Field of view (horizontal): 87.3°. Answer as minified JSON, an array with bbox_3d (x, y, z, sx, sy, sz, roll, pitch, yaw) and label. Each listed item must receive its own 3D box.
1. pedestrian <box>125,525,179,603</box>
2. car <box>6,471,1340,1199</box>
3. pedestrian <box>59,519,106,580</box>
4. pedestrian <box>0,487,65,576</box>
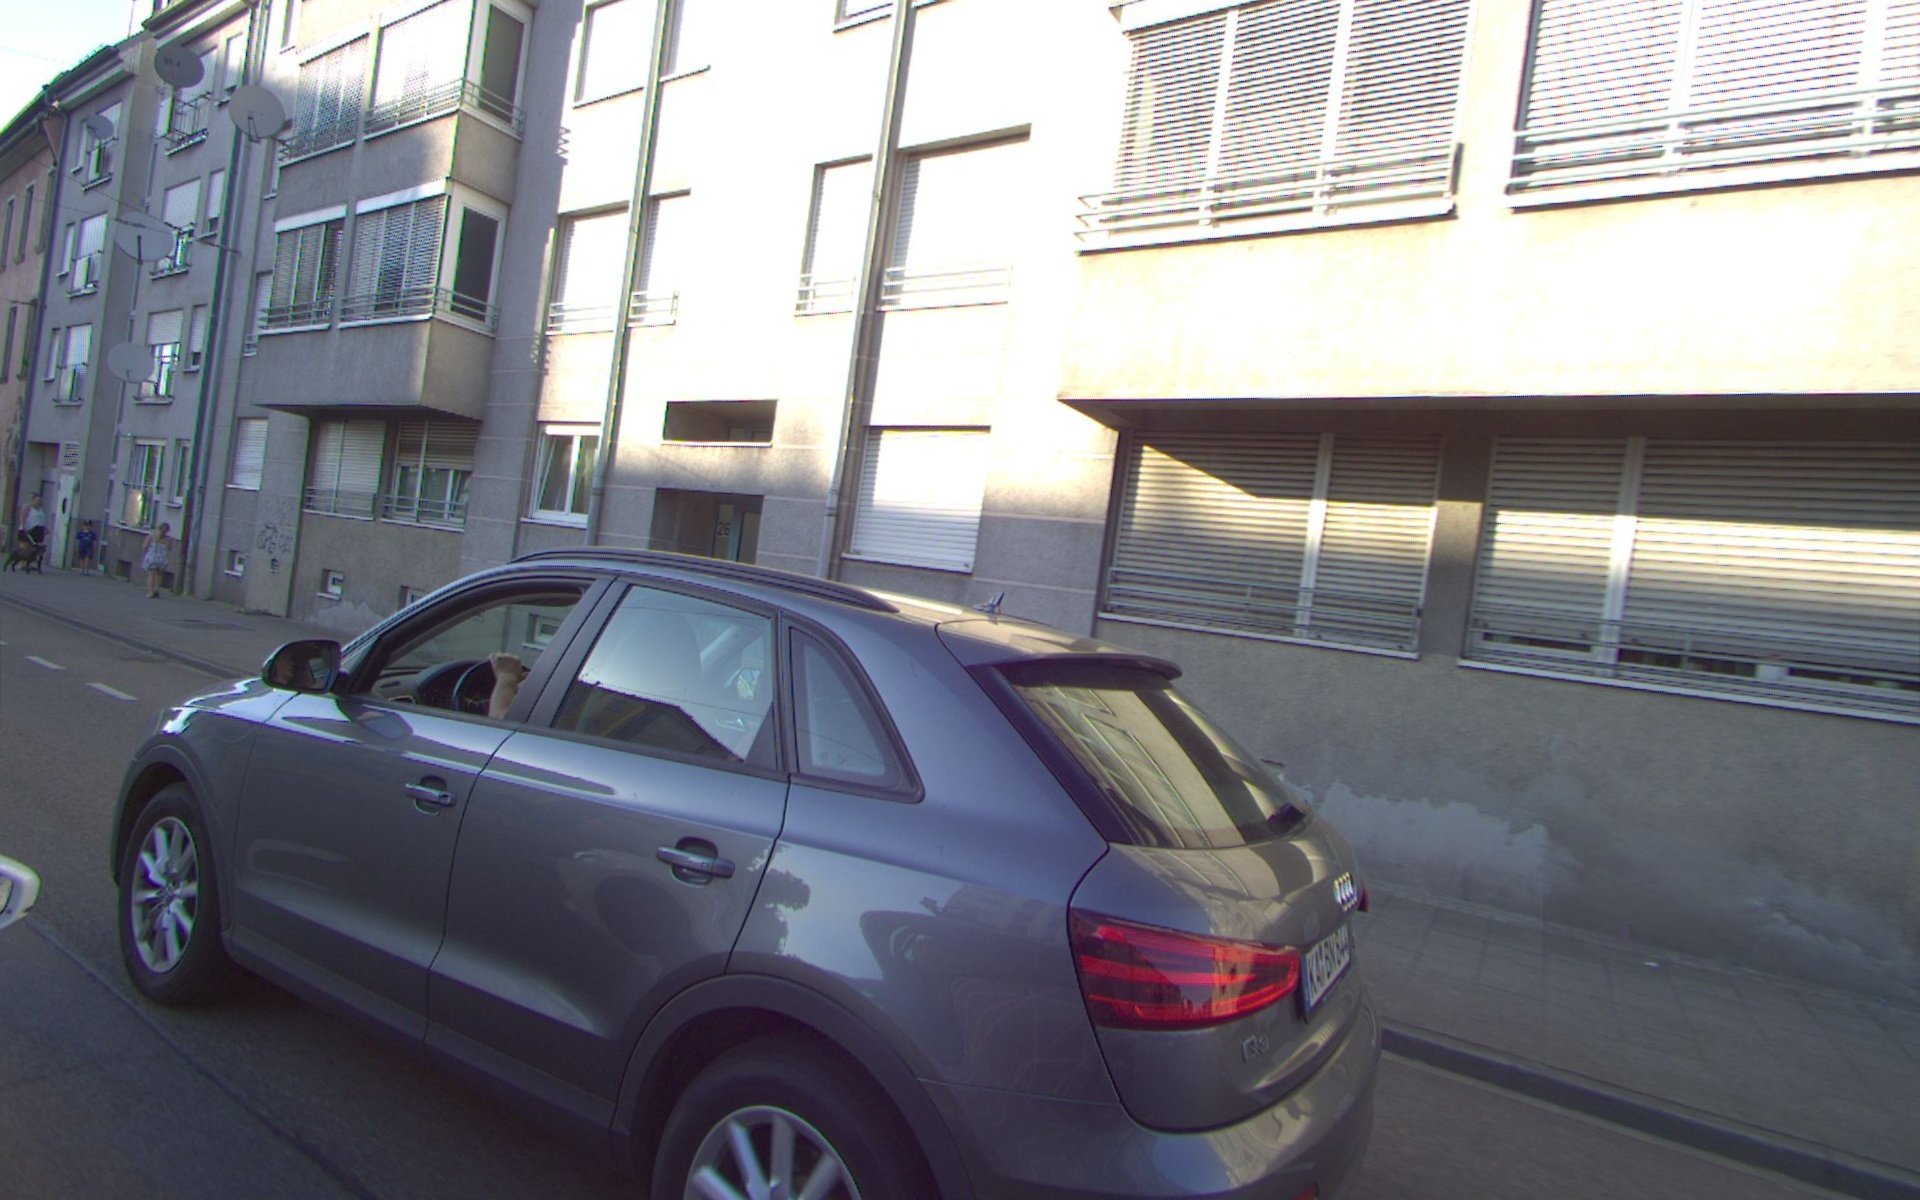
[{"bbox_3d":[-14.838,-0.660,18.474,0.599,1.361,0.514,6,0,33],"label":"pedestrian"},{"bbox_3d":[-1.105,0.648,3.278,3.999,1.606,1.770,8,0,30],"label":"car"},{"bbox_3d":[-19.796,-1.136,22.694,0.575,1.266,0.587,7,1,36],"label":"pedestrian"},{"bbox_3d":[-20.421,-1.508,22.094,0.980,1.793,0.830,7,1,36],"label":"pedestrian"}]
